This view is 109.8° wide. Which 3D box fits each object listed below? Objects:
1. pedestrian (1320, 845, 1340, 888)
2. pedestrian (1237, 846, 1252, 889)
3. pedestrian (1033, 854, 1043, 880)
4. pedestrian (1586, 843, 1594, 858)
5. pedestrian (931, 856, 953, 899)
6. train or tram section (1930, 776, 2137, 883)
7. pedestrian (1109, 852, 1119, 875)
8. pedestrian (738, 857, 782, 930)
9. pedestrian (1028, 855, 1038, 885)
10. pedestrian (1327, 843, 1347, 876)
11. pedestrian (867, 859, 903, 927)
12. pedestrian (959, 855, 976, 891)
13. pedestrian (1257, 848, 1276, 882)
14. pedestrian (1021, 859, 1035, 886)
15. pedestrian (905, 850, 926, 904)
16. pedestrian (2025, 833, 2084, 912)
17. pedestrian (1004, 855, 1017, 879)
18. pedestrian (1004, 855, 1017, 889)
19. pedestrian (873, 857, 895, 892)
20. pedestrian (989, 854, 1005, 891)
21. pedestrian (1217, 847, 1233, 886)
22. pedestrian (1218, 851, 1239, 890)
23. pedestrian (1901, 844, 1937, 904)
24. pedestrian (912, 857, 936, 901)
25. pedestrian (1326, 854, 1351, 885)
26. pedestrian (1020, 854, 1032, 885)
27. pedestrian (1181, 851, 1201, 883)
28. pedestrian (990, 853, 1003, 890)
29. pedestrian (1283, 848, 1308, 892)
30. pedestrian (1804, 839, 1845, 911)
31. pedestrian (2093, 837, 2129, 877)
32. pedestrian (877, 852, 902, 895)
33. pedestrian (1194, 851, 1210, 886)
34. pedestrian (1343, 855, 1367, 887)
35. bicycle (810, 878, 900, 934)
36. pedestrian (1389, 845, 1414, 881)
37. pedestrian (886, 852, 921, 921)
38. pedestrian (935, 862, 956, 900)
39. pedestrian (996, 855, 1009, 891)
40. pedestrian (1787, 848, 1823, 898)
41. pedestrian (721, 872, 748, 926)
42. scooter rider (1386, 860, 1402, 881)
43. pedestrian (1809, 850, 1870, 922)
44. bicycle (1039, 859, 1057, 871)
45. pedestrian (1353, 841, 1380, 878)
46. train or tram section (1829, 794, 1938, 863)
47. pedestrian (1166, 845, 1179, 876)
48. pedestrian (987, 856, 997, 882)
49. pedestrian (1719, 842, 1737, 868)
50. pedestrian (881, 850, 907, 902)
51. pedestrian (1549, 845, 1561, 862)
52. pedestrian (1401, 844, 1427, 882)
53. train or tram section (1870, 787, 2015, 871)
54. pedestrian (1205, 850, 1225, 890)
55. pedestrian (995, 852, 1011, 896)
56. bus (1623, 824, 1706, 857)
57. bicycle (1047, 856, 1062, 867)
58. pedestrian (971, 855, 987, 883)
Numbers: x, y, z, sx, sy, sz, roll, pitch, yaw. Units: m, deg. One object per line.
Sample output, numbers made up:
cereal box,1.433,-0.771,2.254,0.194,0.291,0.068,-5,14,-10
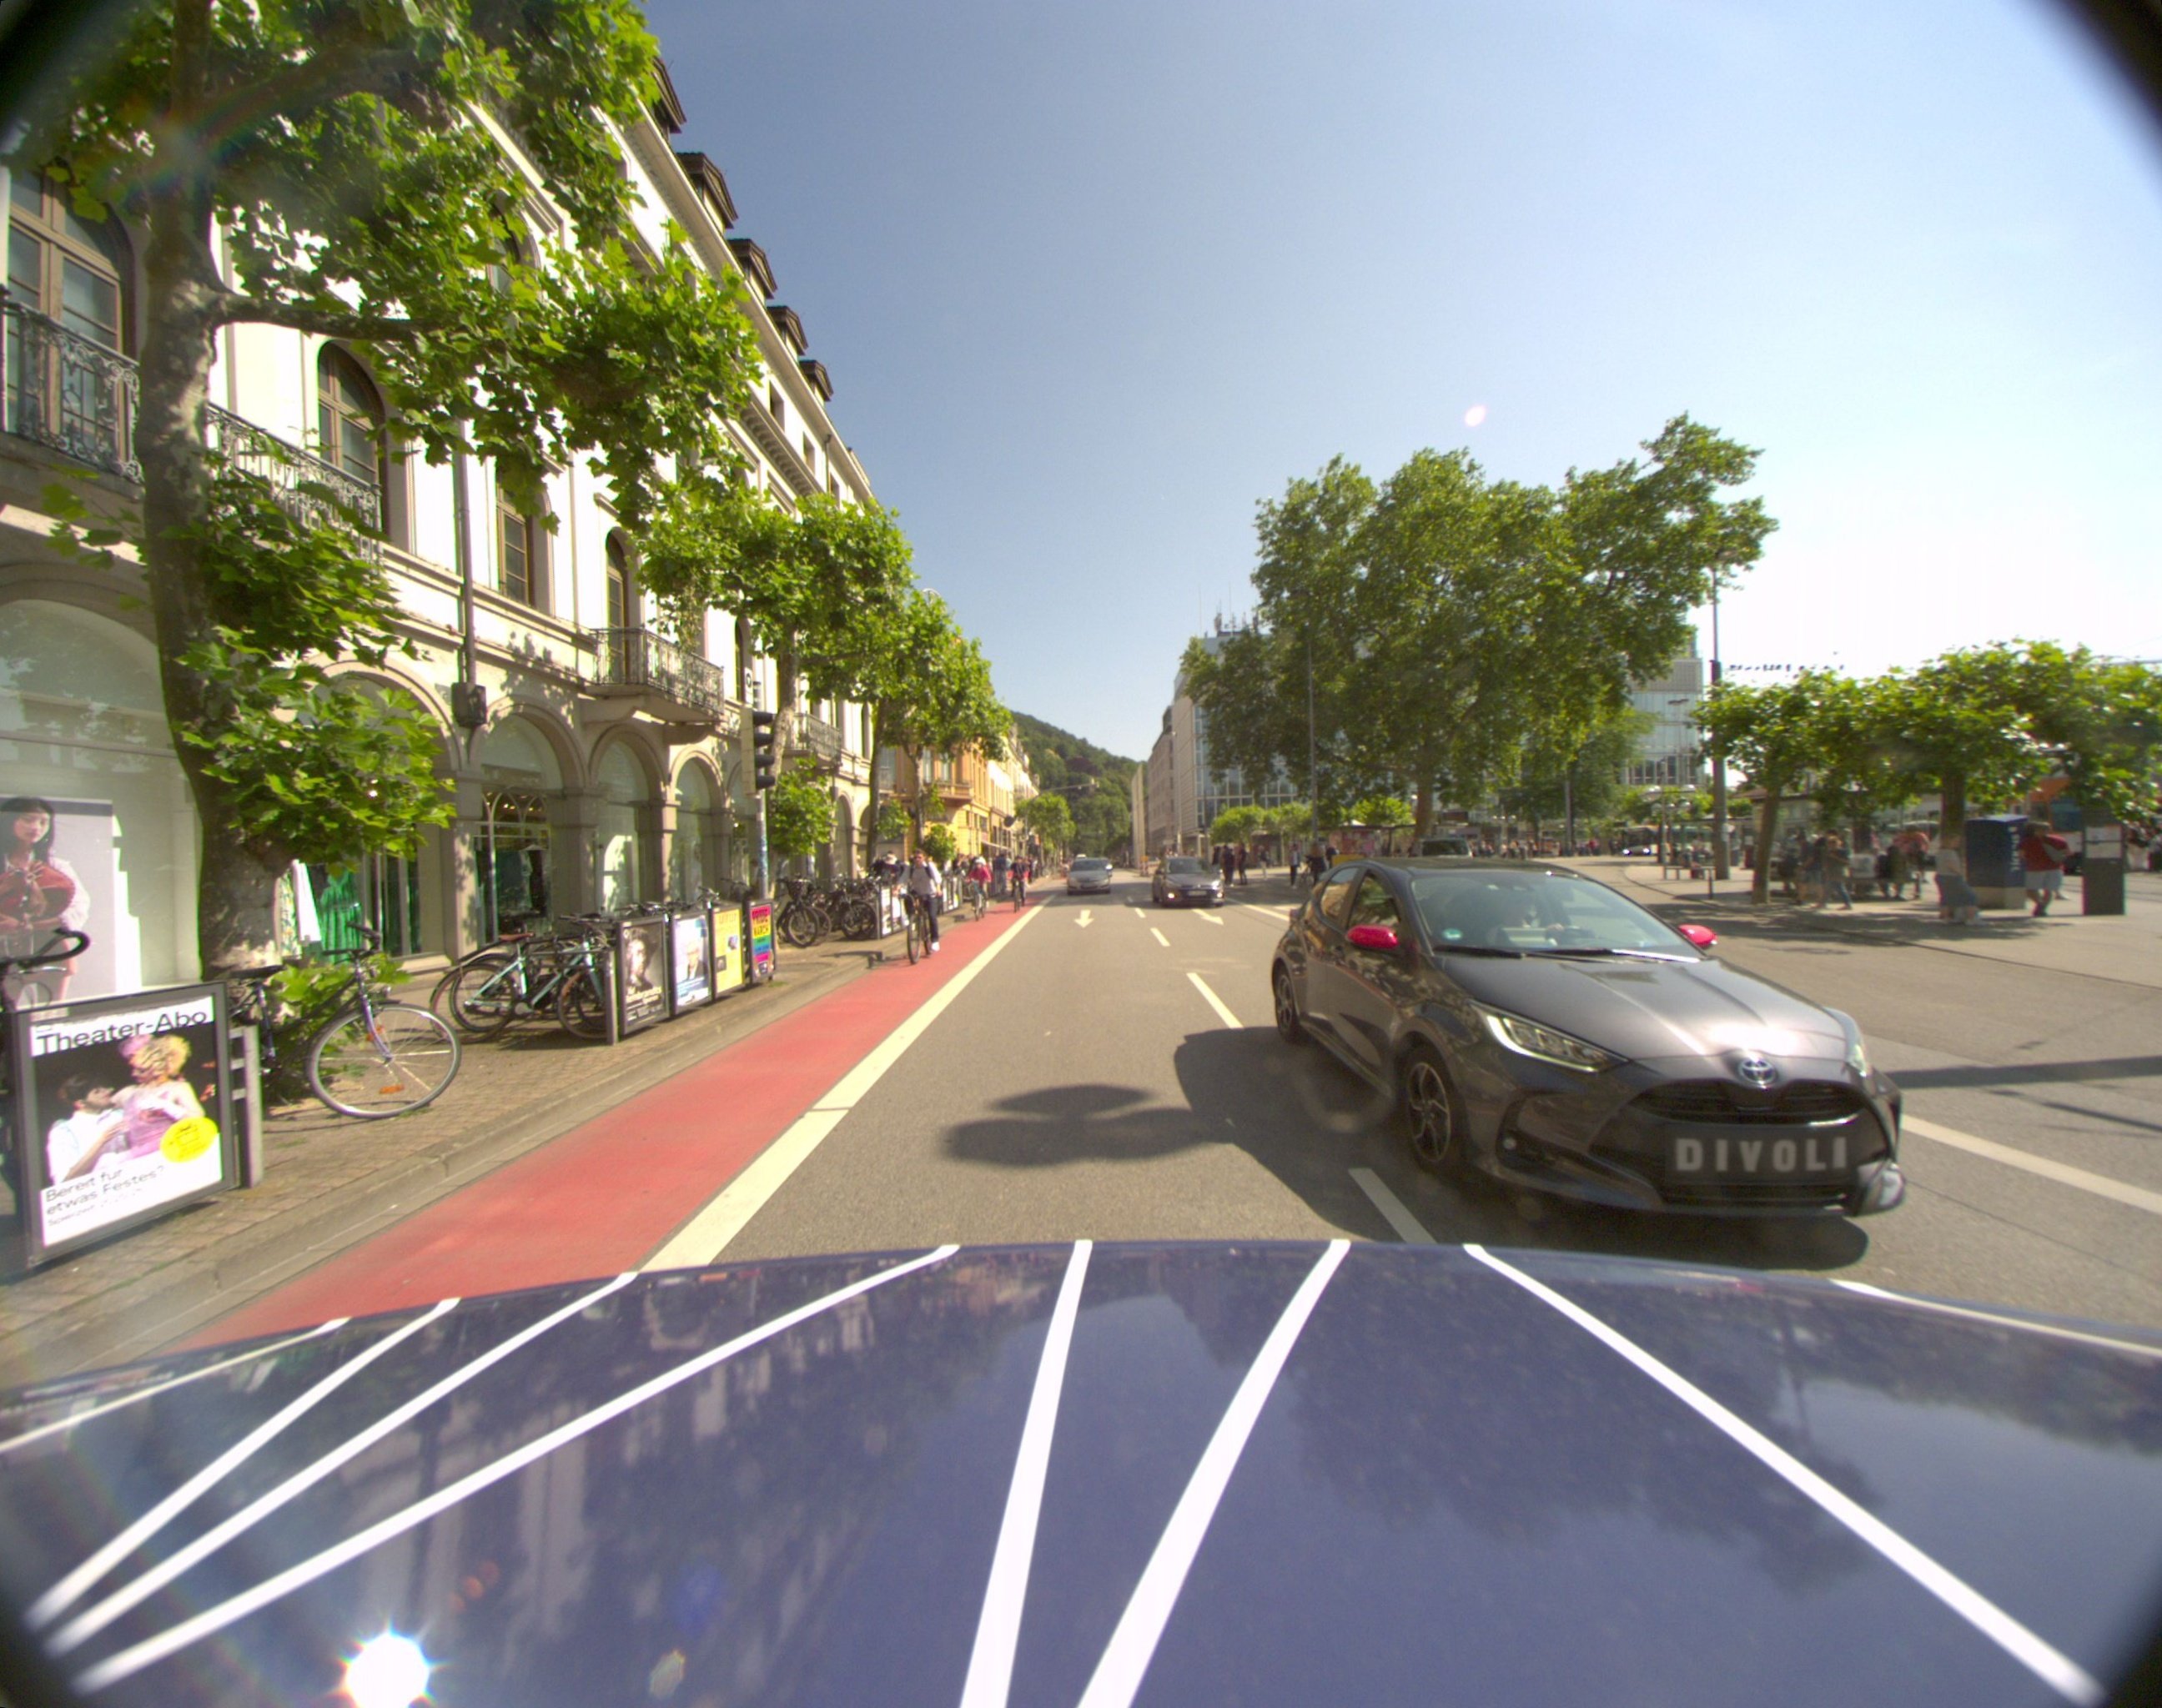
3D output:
pedestrian,10.176,0.508,31.045,0.516,1.732,0.518,-3,1,-13
pedestrian,7.143,0.578,33.280,0.517,1.825,0.716,-3,1,8
pedestrian,-3.023,0.903,53.446,0.651,1.770,0.621,0,2,-13
pedestrian,48.911,-0.341,72.973,0.554,1.464,0.759,-3,1,37
pedestrian,-5.730,0.958,31.358,0.676,1.730,0.754,-3,1,-1
train or tram section,39.297,-0.996,31.856,2.615,3.805,9.536,-3,0,34
pedestrian,2.548,0.735,59.038,0.699,1.774,0.578,0,0,-5
pedestrian,-7.674,0.931,18.193,0.658,1.686,0.676,-3,1,2
pedestrian,-3.038,1.028,48.176,0.578,1.863,0.680,1,0,-2
pedestrian,14.149,0.298,41.953,0.751,1.737,0.782,-3,1,-1
pedestrian,-4.570,0.890,17.757,0.606,1.529,0.667,-3,1,-1
pedestrian,-5.874,0.982,39.278,0.665,1.834,0.622,-3,1,1
pedestrian,9.648,0.559,39.531,0.751,1.737,0.667,-3,1,-1
pedestrian,-2.945,1.008,42.394,0.673,1.488,0.637,0,1,-13
pedestrian,-5.906,0.815,27.132,0.546,1.871,0.602,-3,1,-1
pedestrian,22.738,0.421,17.761,0.577,1.805,0.605,1,0,0
pedestrian,-5.222,0.983,56.518,0.860,1.782,0.757,-1,0,-11
pedestrian,-3.490,0.902,37.811,0.578,1.675,0.669,-1,0,-2
pedestrian,-9.436,0.976,36.366,0.798,1.638,0.622,-3,1,1
pedestrian,-3.885,0.862,35.129,0.578,1.675,0.622,-3,1,-2
pedestrian,6.816,0.593,35.908,0.595,1.835,0.738,0,1,-1
pedestrian,6.415,0.706,32.950,0.630,1.639,0.753,-3,1,27
pedestrian,24.878,0.597,22.562,0.526,1.767,0.486,1,0,0
pedestrian,-6.471,1.028,31.325,0.721,1.772,0.776,-3,1,-1
pedestrian,12.003,0.708,35.485,0.752,1.399,0.782,-3,0,-9
pedestrian,-3.130,0.881,43.209,0.578,1.719,0.718,1,-2,-7
pedestrian,6.189,0.705,42.795,0.876,1.737,0.733,-3,1,-1
pedestrian,-4.058,0.822,36.495,0.578,1.774,0.699,0,0,-2
pedestrian,8.438,0.639,29.946,0.643,1.681,0.642,-3,1,-13
pedestrian,18.814,0.522,19.219,0.626,1.783,0.678,1,0,-41
pedestrian,39.561,0.121,29.185,0.577,1.540,0.682,1,0,27
pedestrian,-8.120,0.821,32.224,0.621,1.747,1.186,-3,0,1
pedestrian,6.117,0.706,38.340,0.612,1.737,0.752,-2,1,-1
pedestrian,12.487,0.760,34.622,0.752,1.416,0.673,-3,1,-9
bicycle,-4.919,1.130,16.619,1.757,1.140,0.592,-2,0,-1
pedestrian,15.689,0.447,37.249,0.752,1.737,0.782,-3,1,-9
pedestrian,-5.003,0.906,21.428,0.702,1.891,0.776,-3,1,-1
pedestrian,-5.738,1.127,32.165,0.517,1.574,0.584,-3,1,40
pedestrian,-3.712,0.875,35.786,0.569,1.674,0.591,0,0,-2
pedestrian,21.439,0.569,22.507,0.588,1.457,0.556,1,0,21
pedestrian,-10.125,1.309,22.228,0.504,1.524,0.538,-3,1,-6
scooter rider,13.198,0.688,32.029,0.506,0.833,0.349,-3,1,34
pedestrian,16.490,0.690,16.528,0.624,1.515,0.680,1,0,1
bicycle,-3.286,1.080,76.513,1.757,1.140,0.592,-2,0,-1
pedestrian,12.674,0.234,33.769,0.752,1.587,0.782,-3,1,-9
train or tram section,49.934,-1.586,47.606,2.615,3.805,9.536,-3,0,34
pedestrian,5.819,0.418,48.290,0.639,1.903,0.733,-3,1,-1
pedestrian,-5.744,0.967,49.181,0.578,1.650,0.621,-1,0,-11
pedestrian,37.606,0.073,44.142,0.554,1.464,0.532,-3,1,8
pedestrian,-6.581,0.753,26.712,0.635,1.782,0.776,-3,1,-1
pedestrian,42.646,-0.068,68.325,0.555,1.464,0.758,-3,1,0
pedestrian,15.865,0.424,36.216,0.752,1.737,0.782,-3,1,-9
train or tram section,44.627,-1.292,39.757,2.615,3.805,9.536,-3,0,34
pedestrian,6.162,0.714,34.846,0.537,1.773,0.745,-3,1,35
pedestrian,-3.372,0.864,32.874,0.578,1.835,0.717,-3,1,-2
bus,59.085,-1.409,76.783,12.201,2.774,2.385,-3,0,-31
bicycle,-3.038,0.855,86.983,1.757,1.140,0.592,-2,0,-1
pedestrian,-6.724,0.989,50.226,0.733,1.794,0.749,-1,0,22
